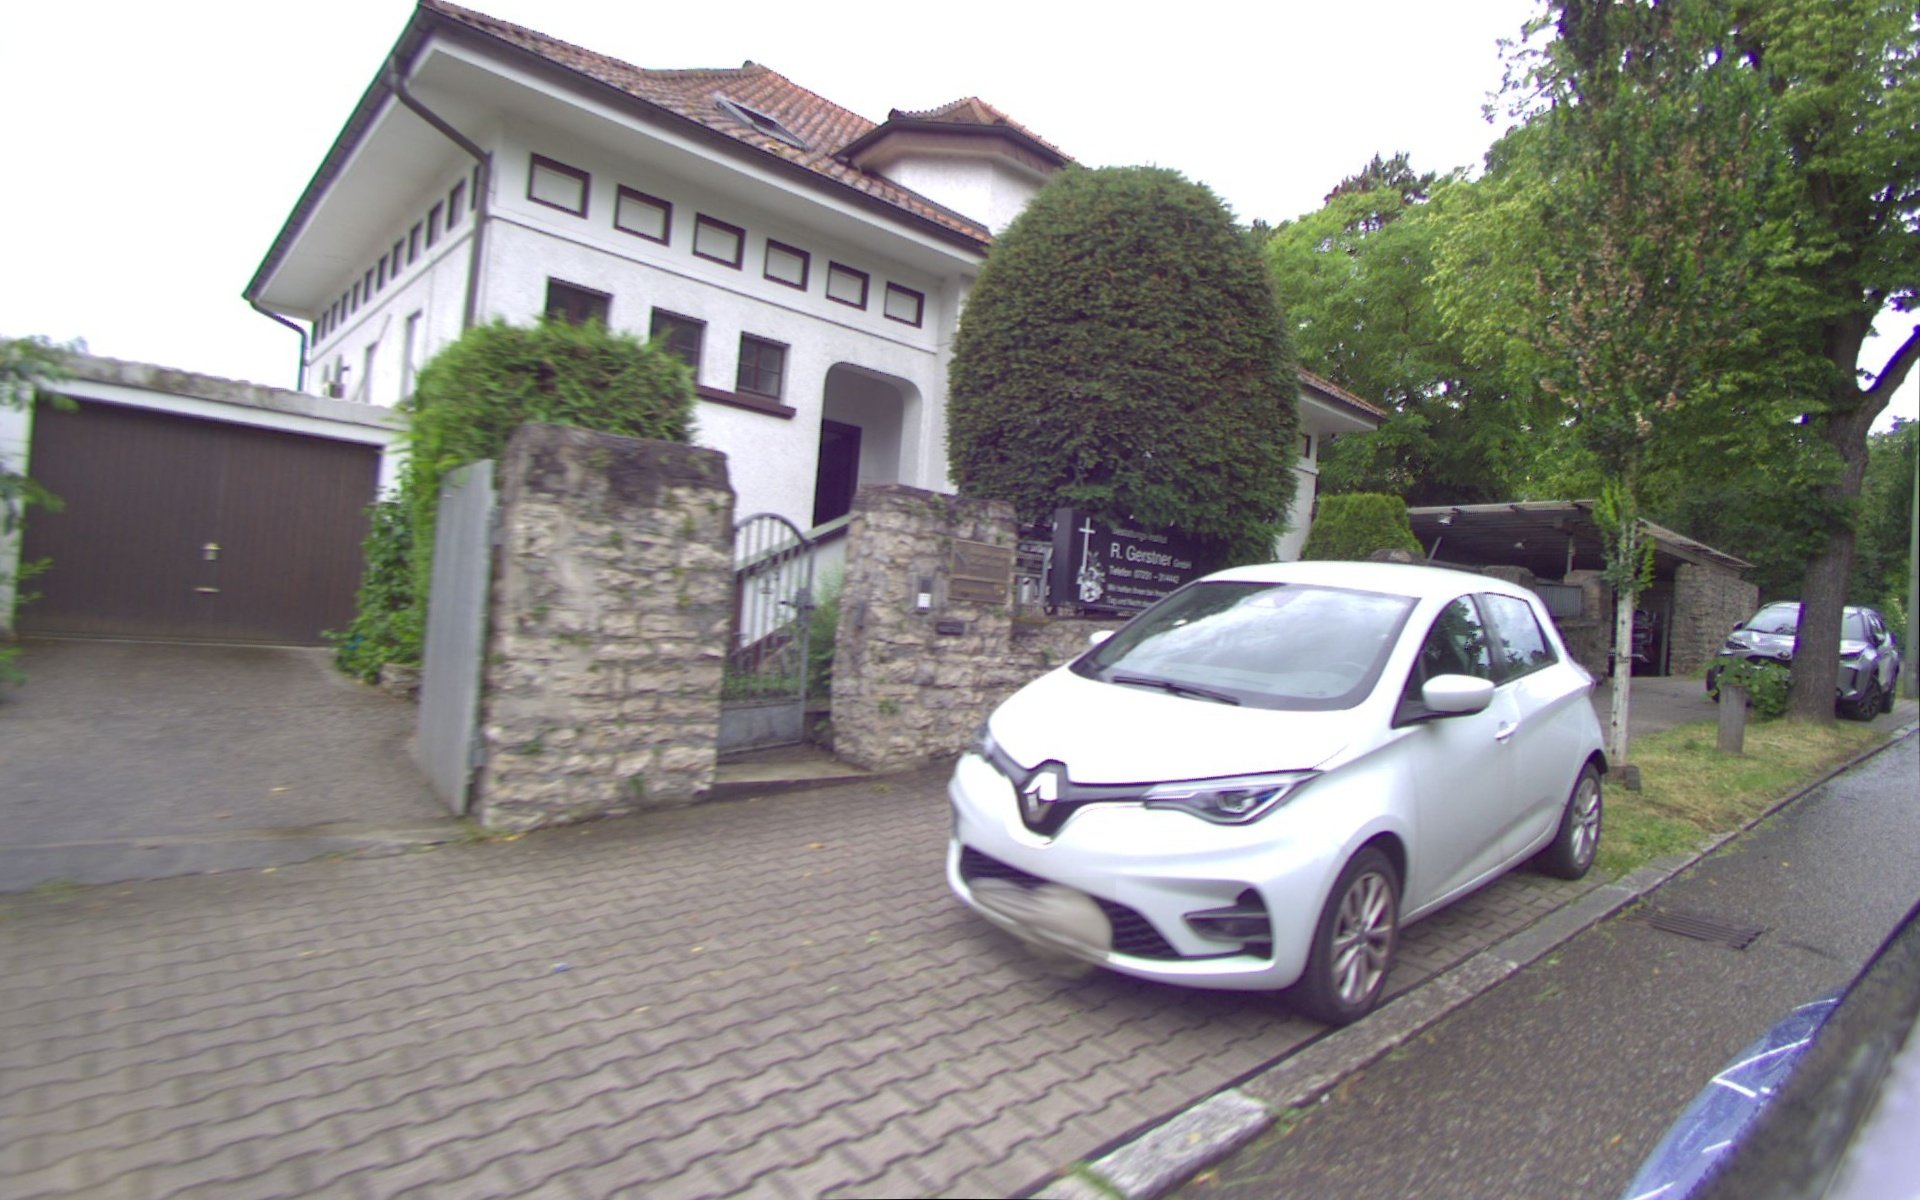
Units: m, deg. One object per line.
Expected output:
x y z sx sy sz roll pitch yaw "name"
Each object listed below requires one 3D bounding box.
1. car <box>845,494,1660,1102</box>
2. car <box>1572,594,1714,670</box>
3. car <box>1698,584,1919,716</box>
1.622 0.481 4.736 3.932 1.649 1.828 0 4 -43 "car"
15.325 0.762 22.640 4.080 1.551 1.599 3 -4 -41 "car"
12.785 0.703 15.091 4.145 1.586 1.922 3 2 -41 "car"
